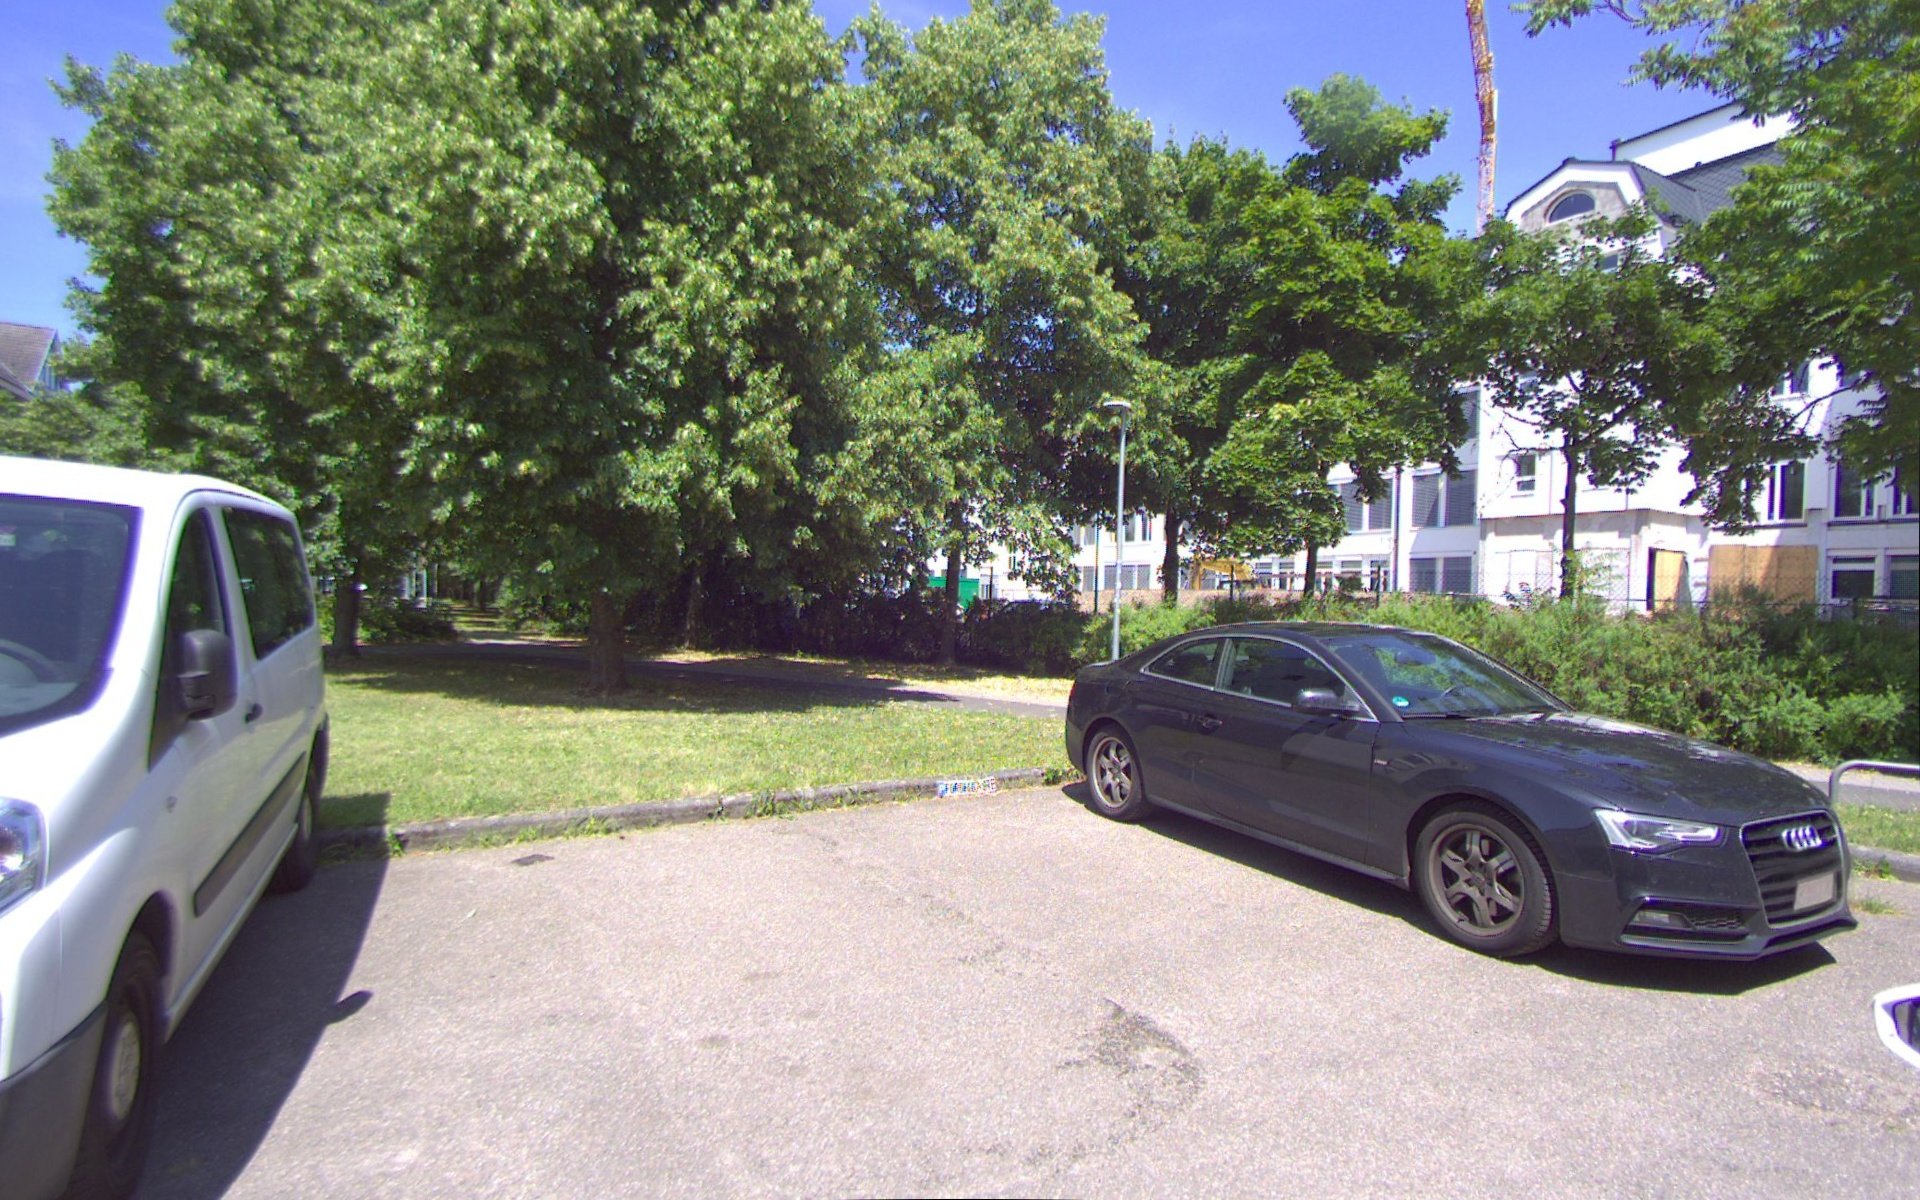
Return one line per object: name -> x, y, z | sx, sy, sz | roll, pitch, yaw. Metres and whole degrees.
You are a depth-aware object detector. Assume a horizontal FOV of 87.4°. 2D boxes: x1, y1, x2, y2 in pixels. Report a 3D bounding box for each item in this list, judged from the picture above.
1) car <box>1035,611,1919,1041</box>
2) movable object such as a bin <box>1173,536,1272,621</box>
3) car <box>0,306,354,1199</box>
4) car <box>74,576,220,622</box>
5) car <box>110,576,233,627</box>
car -> 2.432, 0.815, 5.932 | 1.997, 1.398, 4.413 | 0, 1, -27
movable object such as a bin -> 14.441, -1.148, 55.645 | 1.973, 4.430, 5.687 | 2, 0, -25
car -> -3.431, 0.427, 3.282 | 2.041, 1.908, 4.830 | 3, 0, -27
car -> -32.670, -0.039, 40.539 | 4.293, 1.631, 1.917 | 3, 0, -32
car -> -34.345, 0.063, 43.904 | 3.956, 2.040, 1.983 | 3, 0, -32
